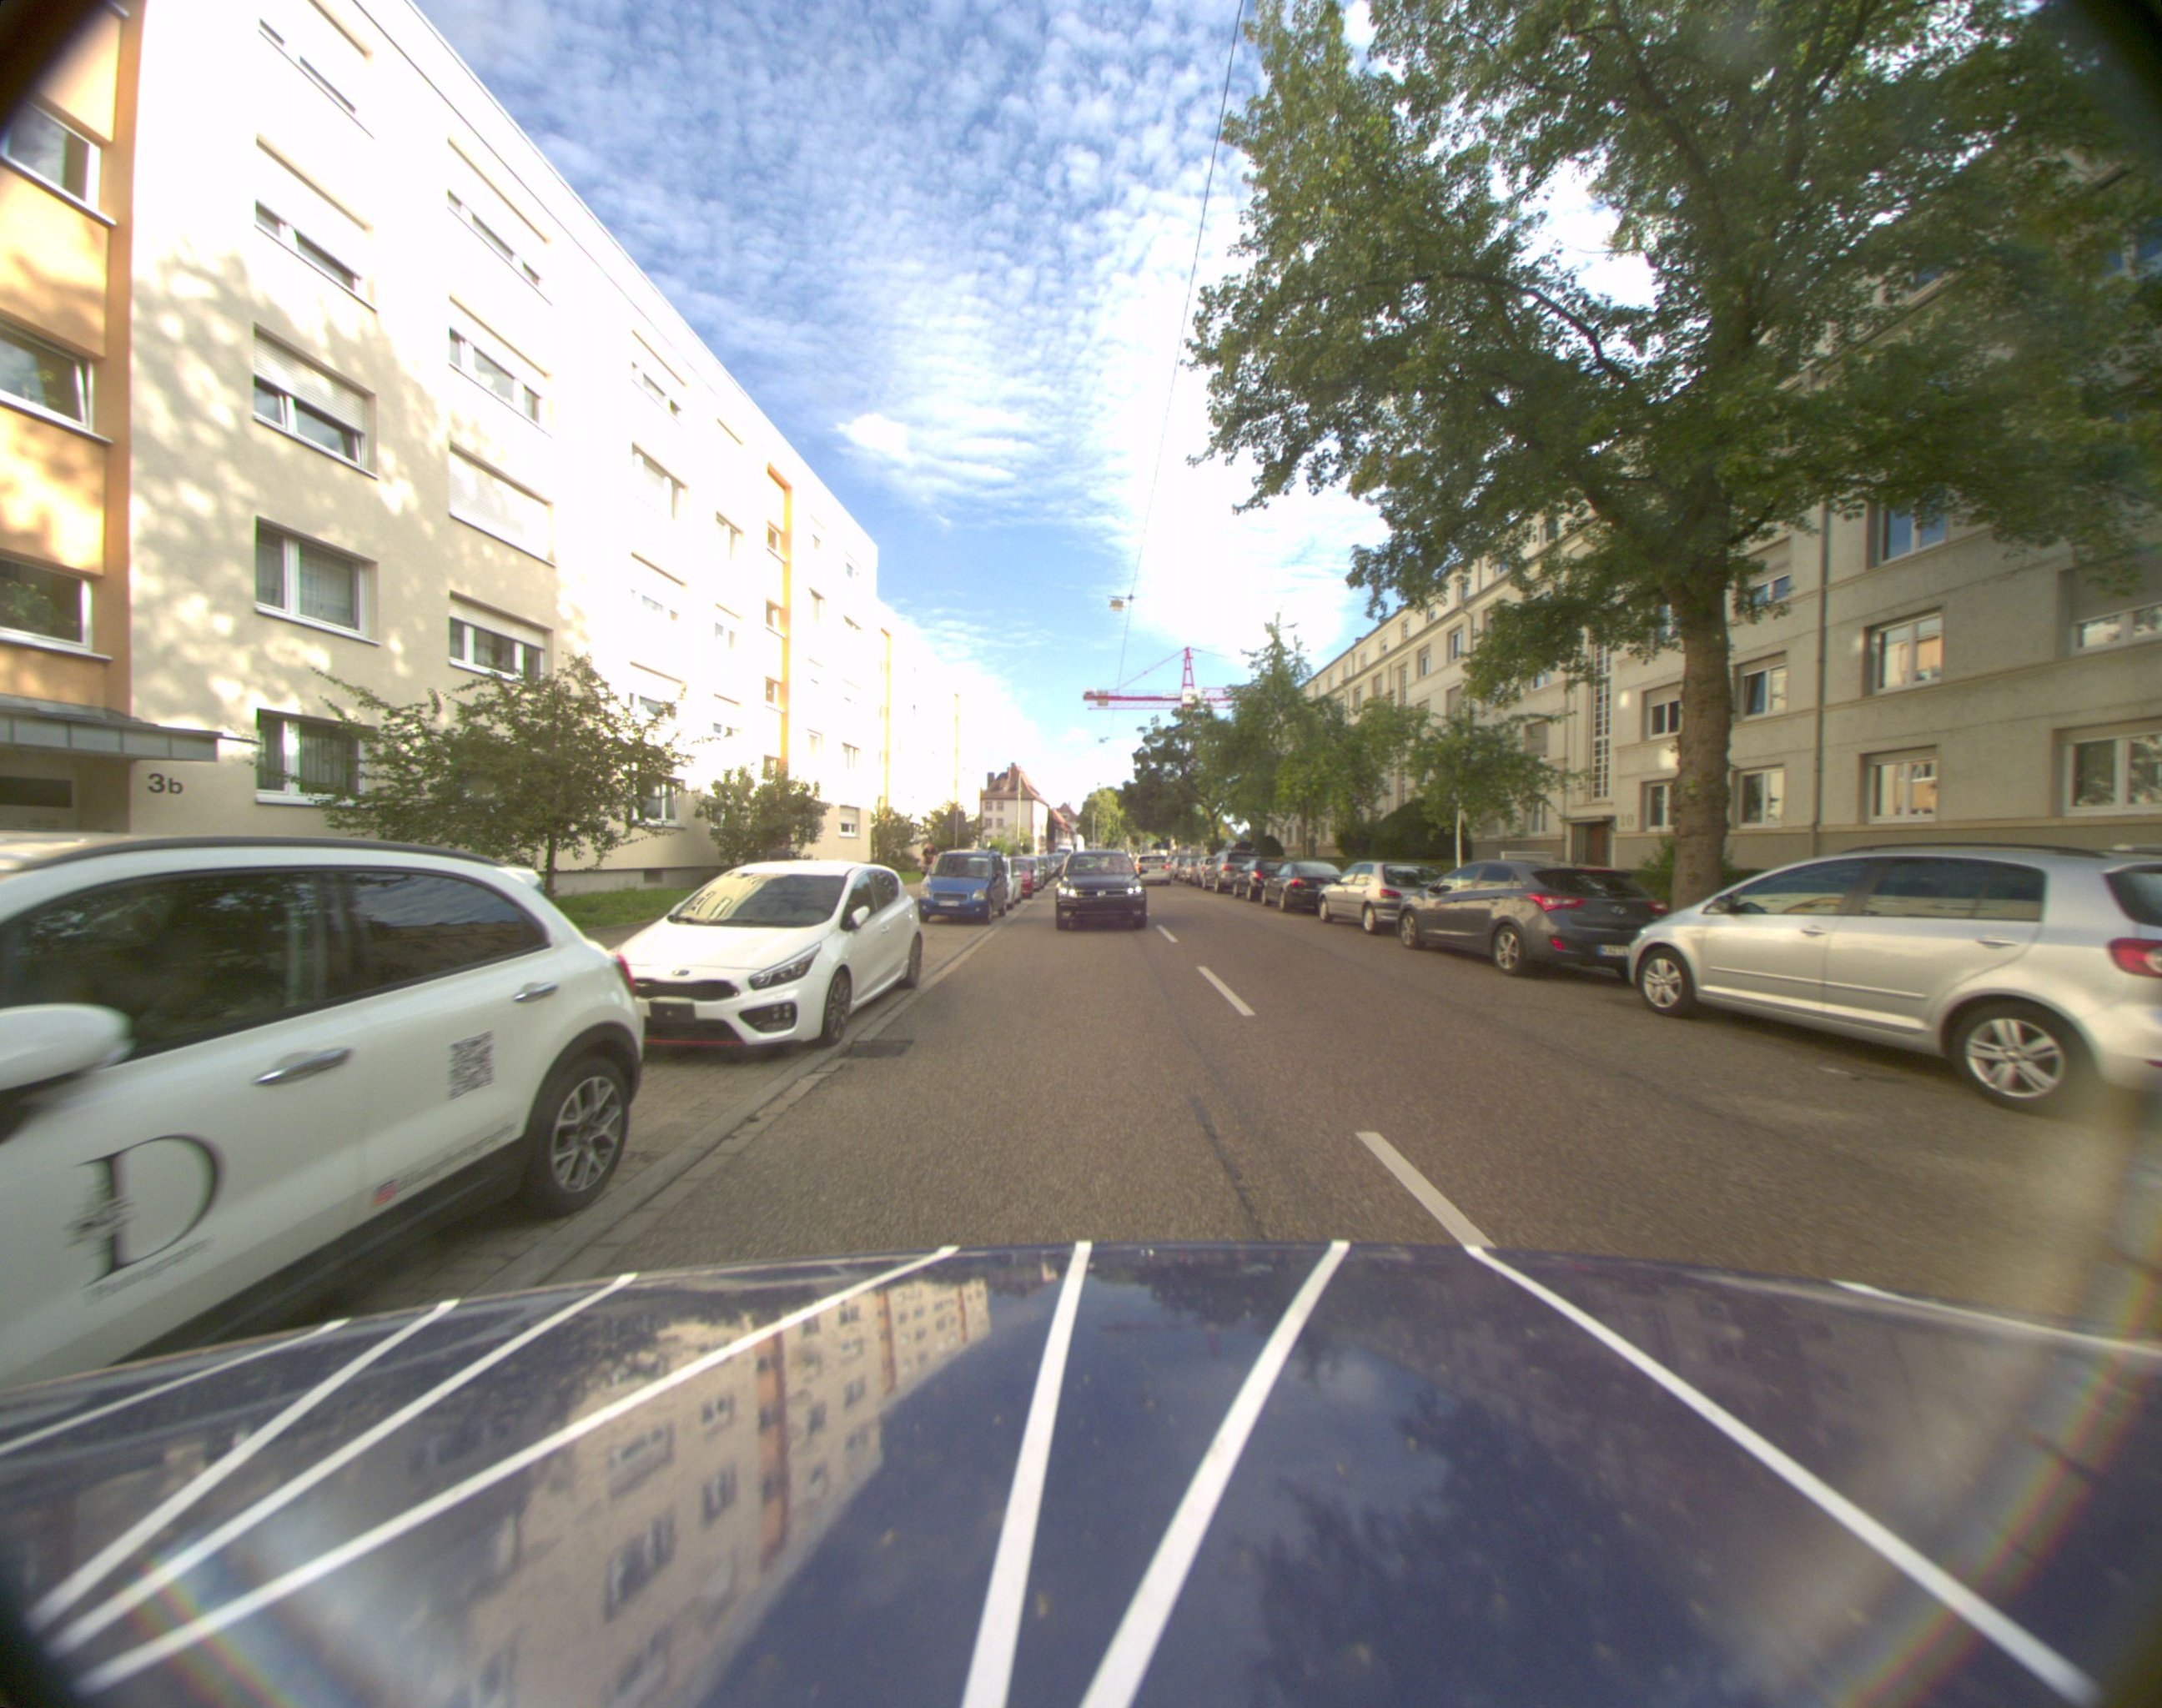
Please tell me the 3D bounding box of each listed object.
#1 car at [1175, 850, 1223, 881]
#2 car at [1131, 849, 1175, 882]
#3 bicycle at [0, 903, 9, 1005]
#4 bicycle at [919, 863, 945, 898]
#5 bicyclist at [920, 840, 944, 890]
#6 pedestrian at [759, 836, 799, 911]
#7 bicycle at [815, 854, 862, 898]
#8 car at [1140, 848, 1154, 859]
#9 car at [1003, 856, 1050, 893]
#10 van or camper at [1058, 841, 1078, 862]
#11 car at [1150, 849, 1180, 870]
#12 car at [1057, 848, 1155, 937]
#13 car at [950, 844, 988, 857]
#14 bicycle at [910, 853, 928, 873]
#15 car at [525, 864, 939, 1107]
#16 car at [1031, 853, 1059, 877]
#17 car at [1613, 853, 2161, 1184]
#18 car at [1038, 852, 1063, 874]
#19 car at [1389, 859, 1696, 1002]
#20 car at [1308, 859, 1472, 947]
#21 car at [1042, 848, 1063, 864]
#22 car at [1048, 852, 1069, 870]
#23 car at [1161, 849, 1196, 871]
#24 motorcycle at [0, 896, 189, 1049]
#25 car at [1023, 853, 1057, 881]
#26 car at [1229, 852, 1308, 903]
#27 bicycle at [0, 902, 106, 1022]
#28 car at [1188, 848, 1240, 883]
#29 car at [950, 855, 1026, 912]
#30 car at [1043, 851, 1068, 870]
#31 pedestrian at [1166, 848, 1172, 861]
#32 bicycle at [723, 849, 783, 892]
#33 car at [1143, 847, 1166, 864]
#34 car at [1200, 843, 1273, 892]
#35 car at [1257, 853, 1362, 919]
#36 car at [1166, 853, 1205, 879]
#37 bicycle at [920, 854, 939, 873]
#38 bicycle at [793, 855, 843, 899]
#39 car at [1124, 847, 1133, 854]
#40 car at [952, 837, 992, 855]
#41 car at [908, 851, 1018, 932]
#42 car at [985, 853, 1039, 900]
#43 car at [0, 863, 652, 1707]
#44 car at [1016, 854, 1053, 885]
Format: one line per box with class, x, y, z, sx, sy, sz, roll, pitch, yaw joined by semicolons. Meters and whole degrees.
car;6.509;0.594;42.391;1.860;1.477;4.944;4;0;1
car;3.492;0.548;37.496;1.863;1.520;4.011;0;0;2
bicycle;-10.045;0.909;6.196;0.460;0.921;1.516;2;0;0
bicycle;-5.070;0.880;25.969;0.525;1.128;1.929;0;1;0
bicyclist;-5.073;0.363;25.913;0.625;1.668;0.893;0;1;0
pedestrian;-7.049;0.452;17.751;0.543;1.711;0.771;0;1;6
bicycle;-7.739;0.676;24.390;0.605;1.283;2.635;1;1;1
car;9.442;-0.082;108.774;1.744;1.493;4.009;0;0;0
car;-2.344;0.844;33.559;1.666;1.408;4.058;2;1;1
van or camper;-1.596;-0.325;94.672;2.165;2.512;5.913;3;0;0
car;6.832;0.408;61.884;1.860;1.477;4.798;4;0;1
car;0.593;0.722;16.435;1.859;1.673;4.001;0;0;3
car;-13.345;-0.385;90.466;4.084;1.473;1.872;1;1;10
bicycle;-9.216;0.494;43.226;0.503;1.024;2.095;3;1;0
car;-2.778;0.907;7.400;1.732;1.479;4.641;2;1;2
car;-2.381;0.681;50.651;1.704;1.455;4.179;2;0;-1
car;6.182;0.847;5.498;1.743;1.611;3.994;3;0;-1
car;-2.230;0.613;55.900;1.688;1.492;3.873;2;0;0
car;5.944;0.871;10.441;1.618;1.460;4.013;3;0;-1
car;6.103;0.886;15.545;1.604;1.410;3.963;4;0;-1
car;-2.891;0.179;77.805;1.767;1.515;4.330;3;1;3
car;-1.906;0.547;66.019;1.688;1.459;4.205;2;0;-1
car;6.953;0.410;54.727;1.860;1.477;4.683;2;0;-1
motorcycle;-8.303;0.911;5.596;0.632;1.038;2.393;2;0;0
car;-2.415;0.739;45.533;1.688;1.477;4.293;2;1;1
car;6.326;0.734;26.113;1.689;1.472;4.119;4;1;2
bicycle;-9.213;0.923;6.235;0.460;0.936;1.516;2;0;0
car;6.443;0.521;37.309;1.860;1.564;4.460;2;0;2
car;-2.703;0.820;22.853;1.733;1.452;4.116;2;1;0
car;-2.017;0.496;60.954;1.687;1.427;4.206;2;0;2
pedestrian;11.463;0.063;98.865;0.743;1.758;0.775;0;1;0
bicycle;-10.427;0.497;24.303;0.728;1.283;2.635;0;1;1
car;7.002;0.154;72.662;1.825;1.477;4.368;3;0;1
car;6.299;0.497;31.296;1.882;1.782;4.970;3;0;0
car;6.158;0.788;20.994;1.689;1.472;4.452;4;1;4
car;6.505;0.717;47.654;1.742;1.385;4.665;3;0;0
bicycle;-8.621;0.540;43.325;0.595;1.024;2.119;3;1;0
bicycle;-8.387;0.696;24.332;0.605;1.283;2.635;2;1;1
car;10.643;-0.811;170.986;1.834;1.659;4.084;-1;1;1
car;-13.380;-0.939;93.269;4.276;2.179;2.368;1;1;8
car;-2.688;0.780;18.193;1.732;1.640;4.117;2;1;3
car;-2.502;0.778;28.292;1.733;1.506;4.189;2;1;-2
car;-2.979;0.877;1.701;1.733;1.571;4.116;2;1;-1
car;-2.416;0.773;40.194;1.666;1.482;3.941;2;0;-1
